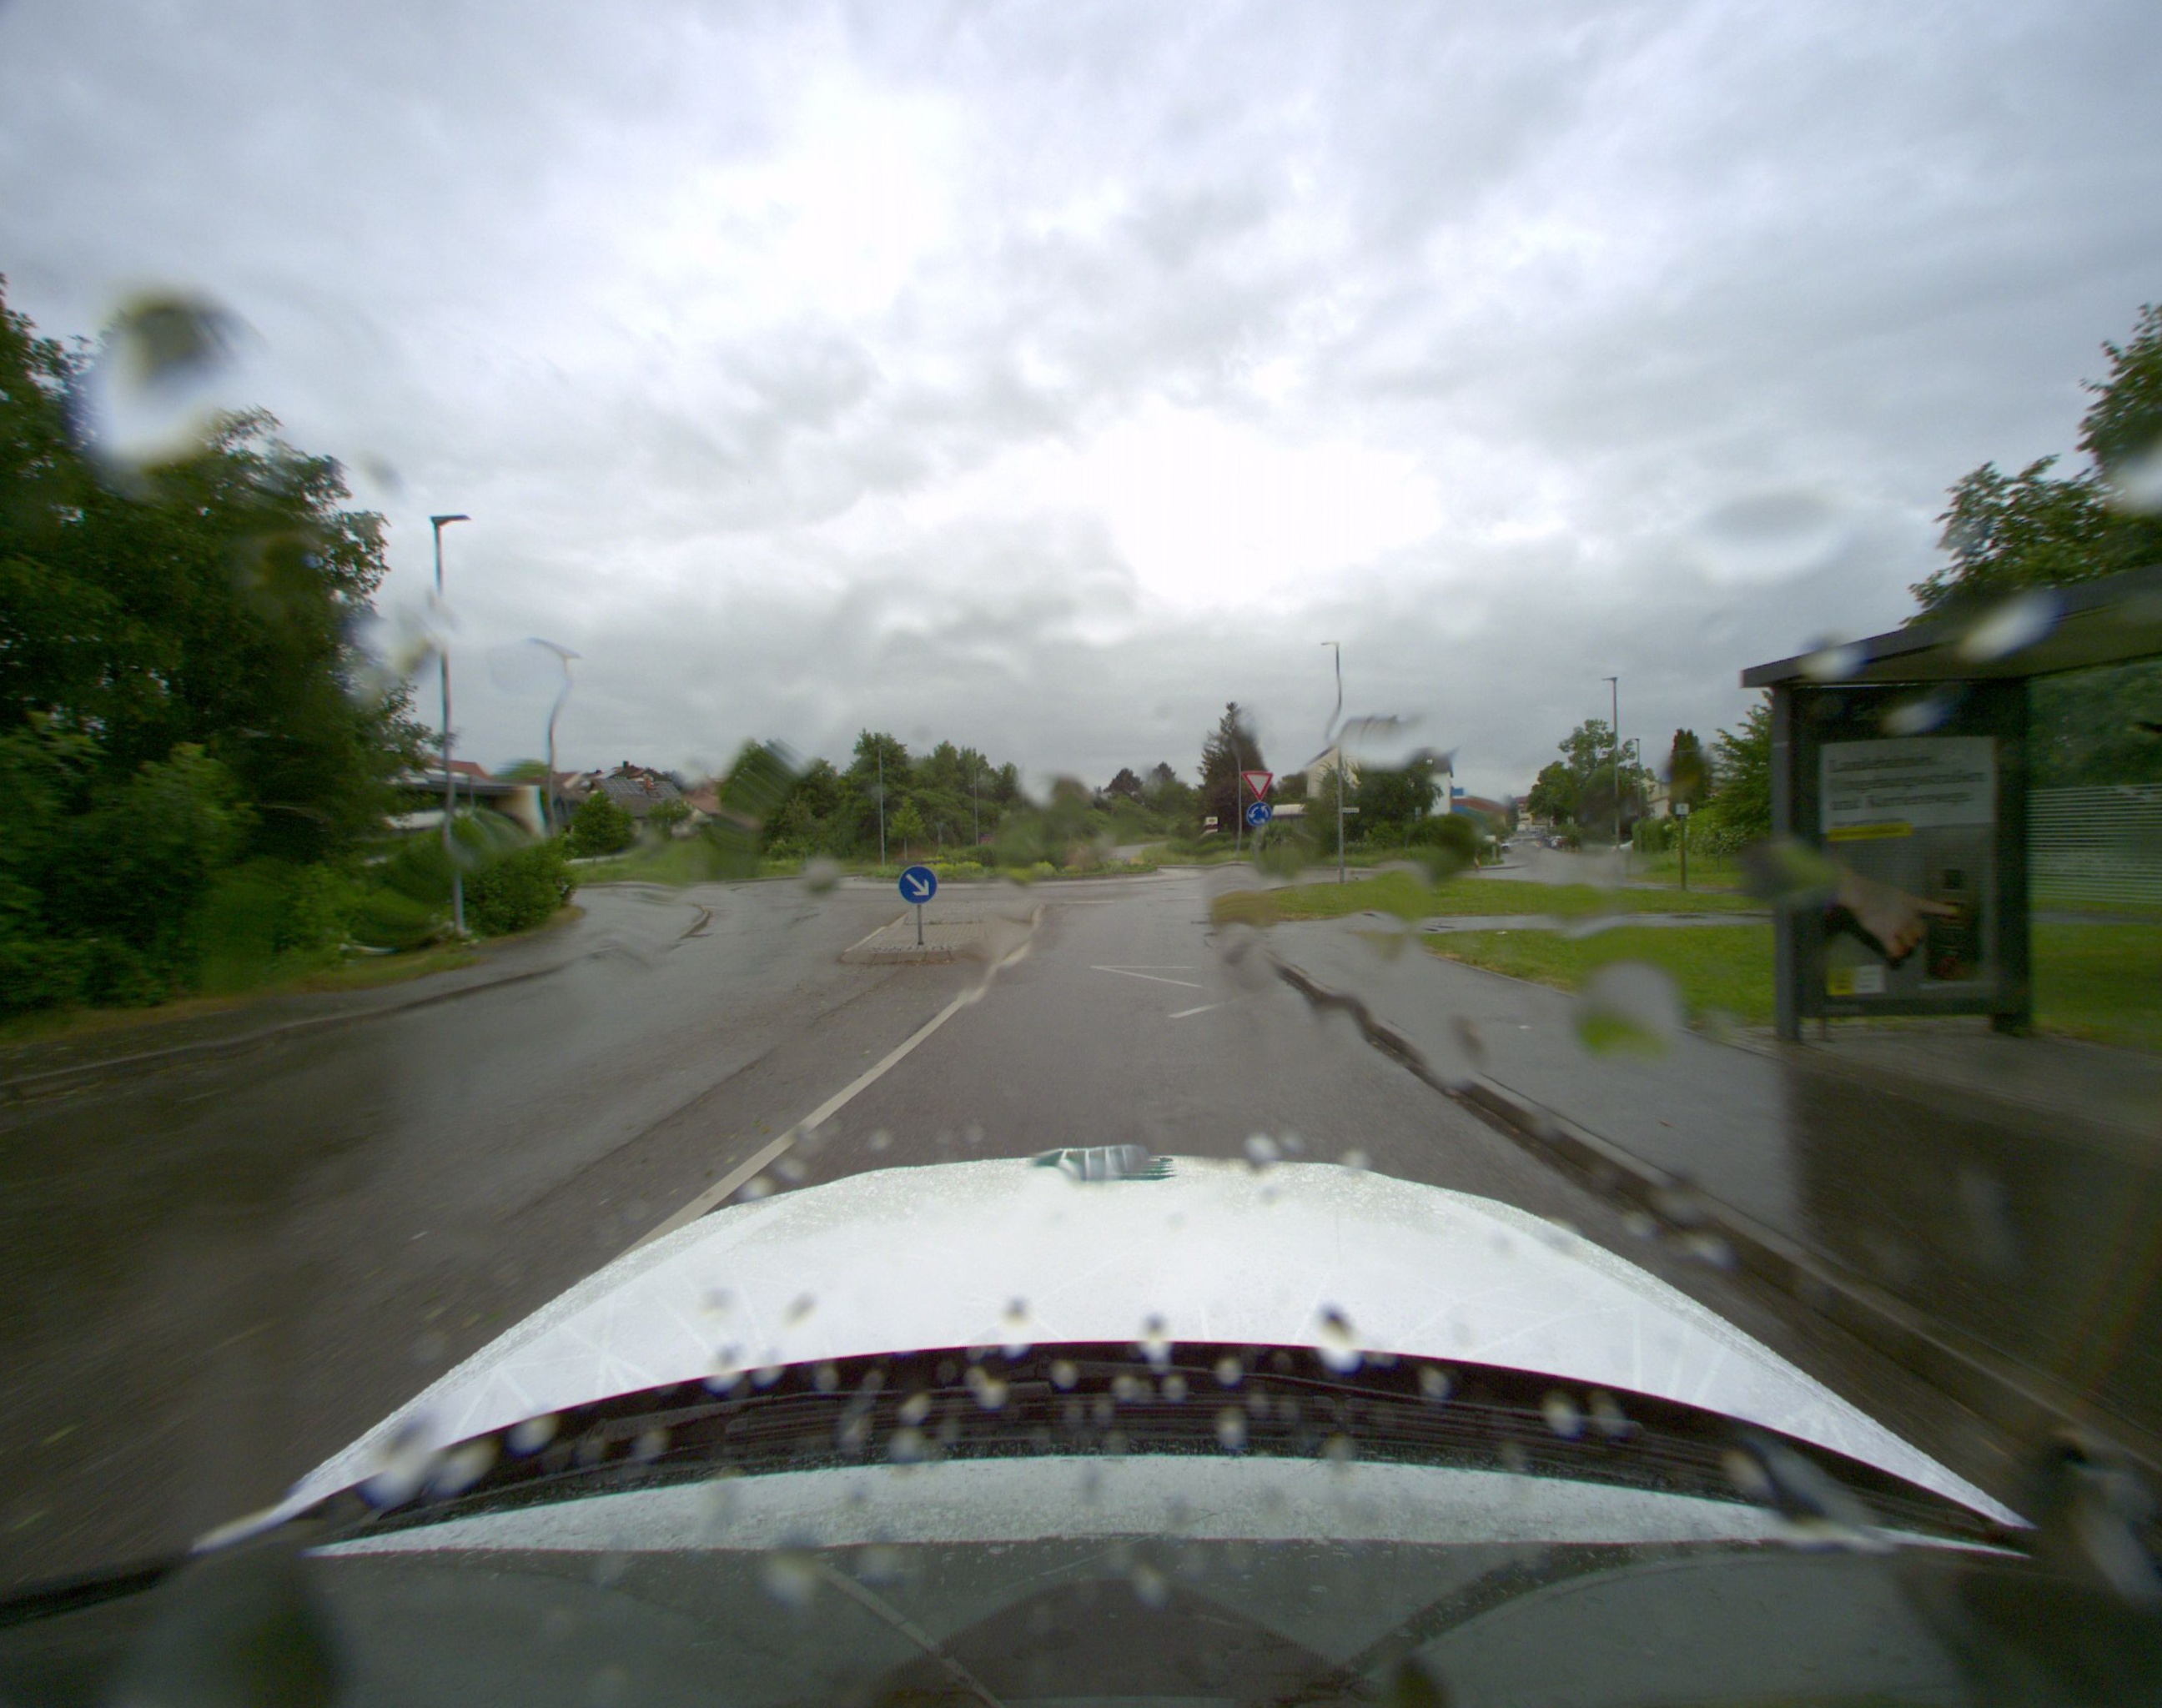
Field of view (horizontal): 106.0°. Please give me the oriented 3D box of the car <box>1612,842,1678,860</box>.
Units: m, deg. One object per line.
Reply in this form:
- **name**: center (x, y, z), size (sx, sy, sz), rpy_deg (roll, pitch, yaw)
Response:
- **car**: center (42.653, -0.229, 61.694), size (3.949, 1.374, 1.795), rpy_deg (0, 1, 28)

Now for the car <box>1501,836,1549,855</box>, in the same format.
- **car**: center (45.420, -0.881, 83.410), size (3.949, 1.827, 1.909), rpy_deg (-2, 0, 42)

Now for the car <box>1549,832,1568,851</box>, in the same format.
- **car**: center (53.688, -1.365, 91.540), size (1.568, 2.013, 4.025), rpy_deg (-2, 0, 32)
